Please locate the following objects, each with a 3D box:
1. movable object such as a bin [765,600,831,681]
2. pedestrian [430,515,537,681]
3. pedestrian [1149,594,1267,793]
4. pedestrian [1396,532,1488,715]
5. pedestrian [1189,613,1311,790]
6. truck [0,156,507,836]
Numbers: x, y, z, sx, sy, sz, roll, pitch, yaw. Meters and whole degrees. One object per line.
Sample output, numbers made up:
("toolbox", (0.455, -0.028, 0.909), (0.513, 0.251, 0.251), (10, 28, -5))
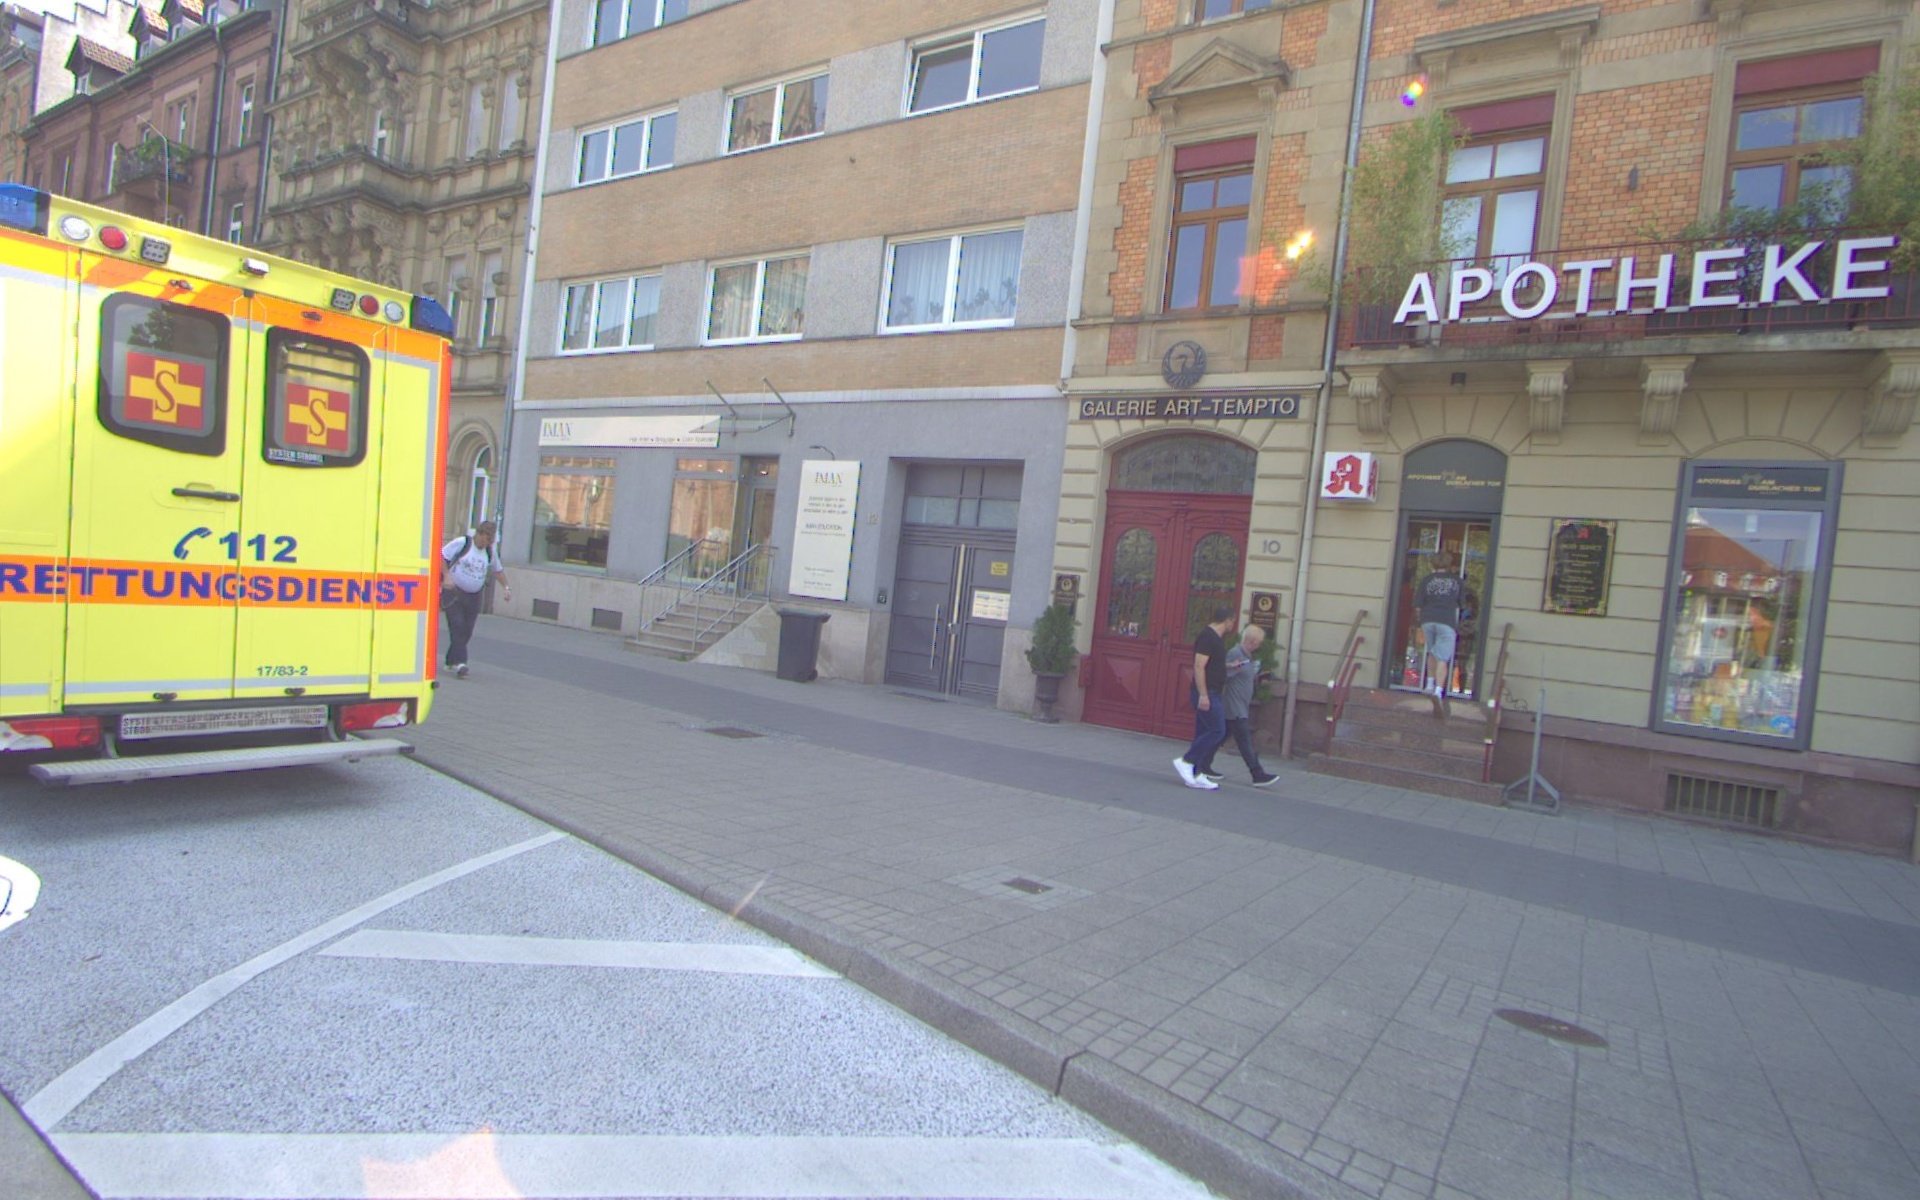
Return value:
("movable object such as a bin", (-2.436, 0.594, 15.174), (0.715, 1.119, 0.647), (6, 2, 7))
("pedestrian", (-5.209, -0.009, 11.010), (0.583, 1.713, 0.722), (7, 1, 31))
("pedestrian", (2.256, 0.824, 9.130), (0.697, 1.673, 0.644), (7, 2, 34))
("pedestrian", (5.273, 0.258, 10.995), (0.651, 1.886, 0.737), (7, 1, 32))
("pedestrian", (2.756, 0.941, 9.563), (0.829, 1.529, 0.557), (7, 2, 34))
("truck", (-5.925, -0.622, 6.798), (6.240, 2.807, 2.326), (6, 2, 36))
